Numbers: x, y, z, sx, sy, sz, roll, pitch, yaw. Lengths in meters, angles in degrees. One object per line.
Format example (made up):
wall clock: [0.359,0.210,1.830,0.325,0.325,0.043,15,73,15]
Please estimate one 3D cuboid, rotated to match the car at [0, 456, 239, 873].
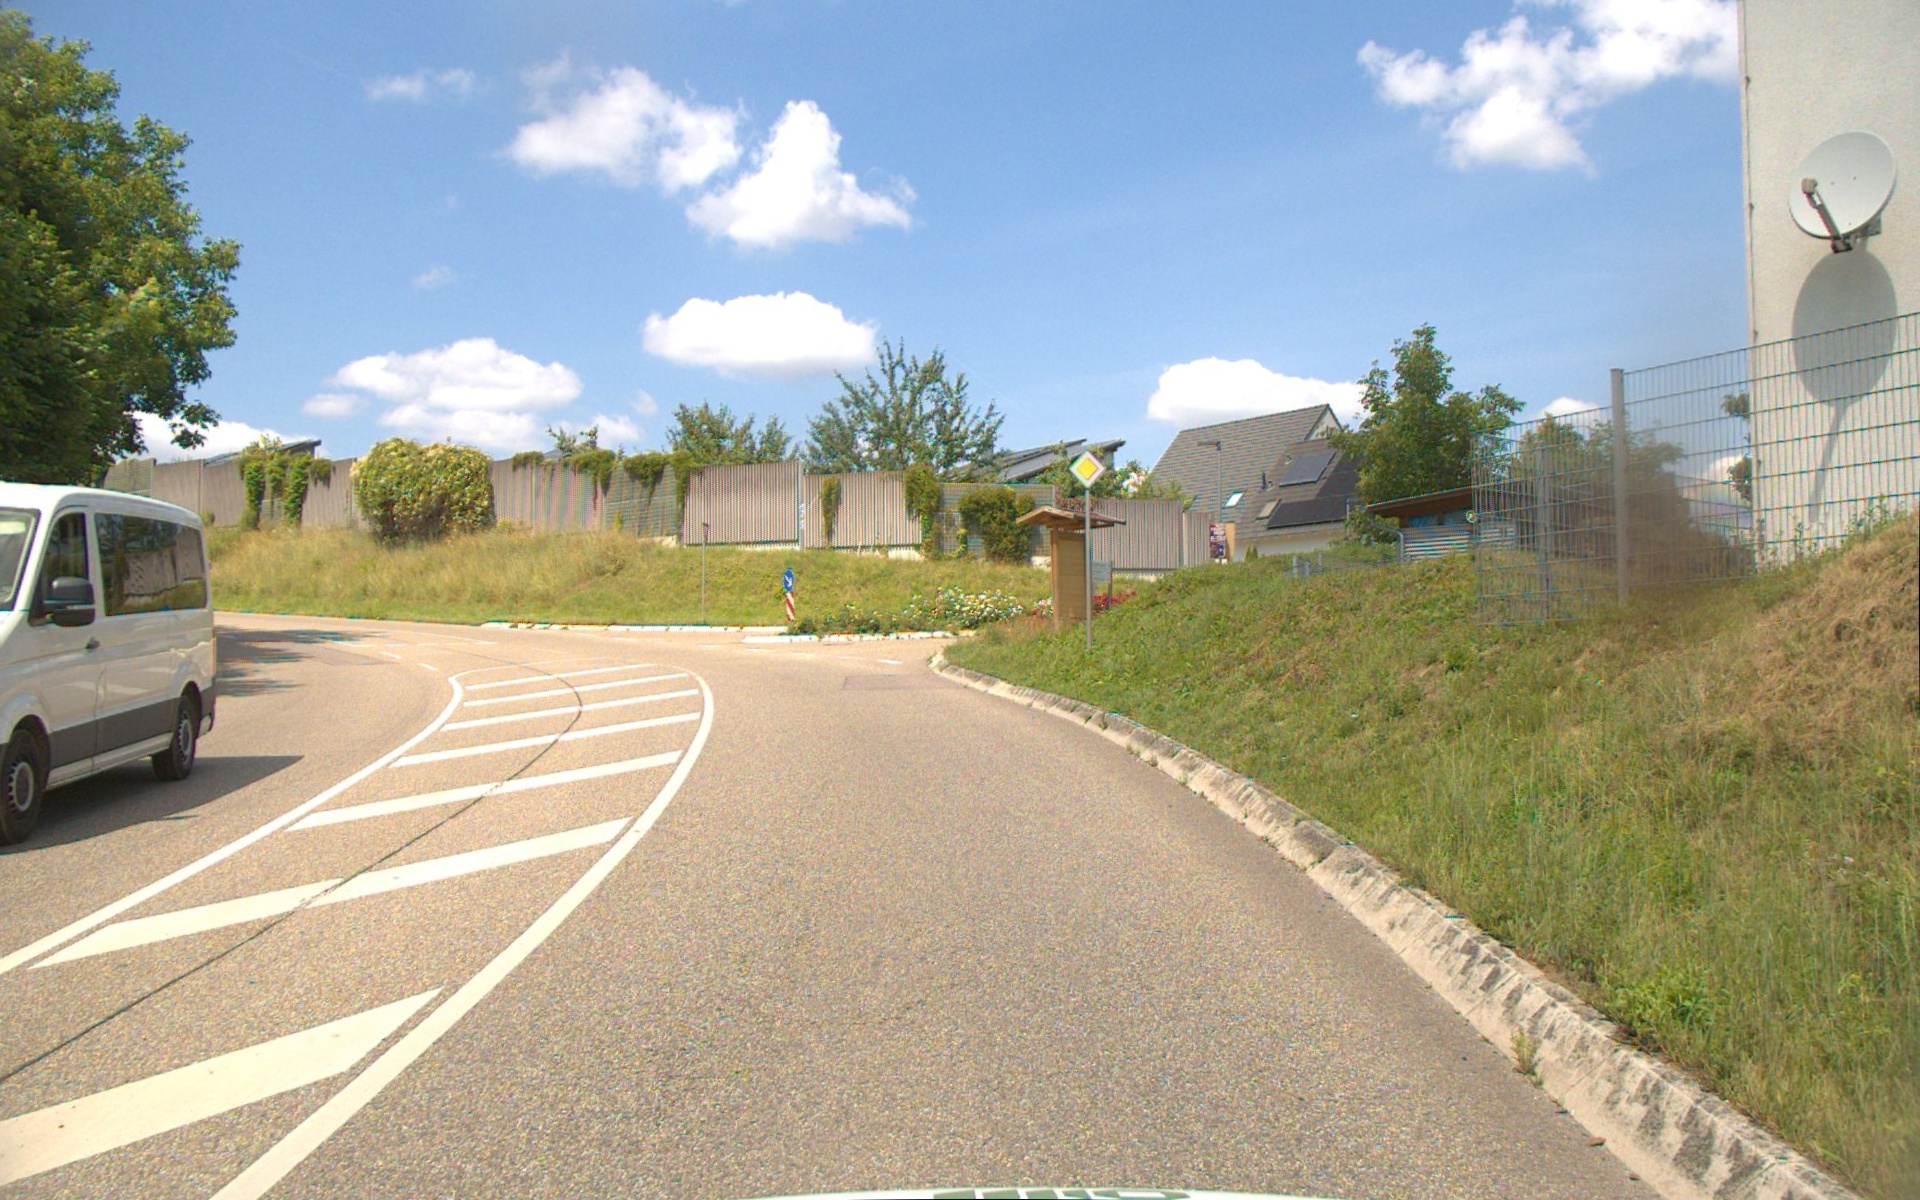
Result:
car: [-6.960,0.403,11.890,2.049,2.330,5.928,-1,0,-12]
